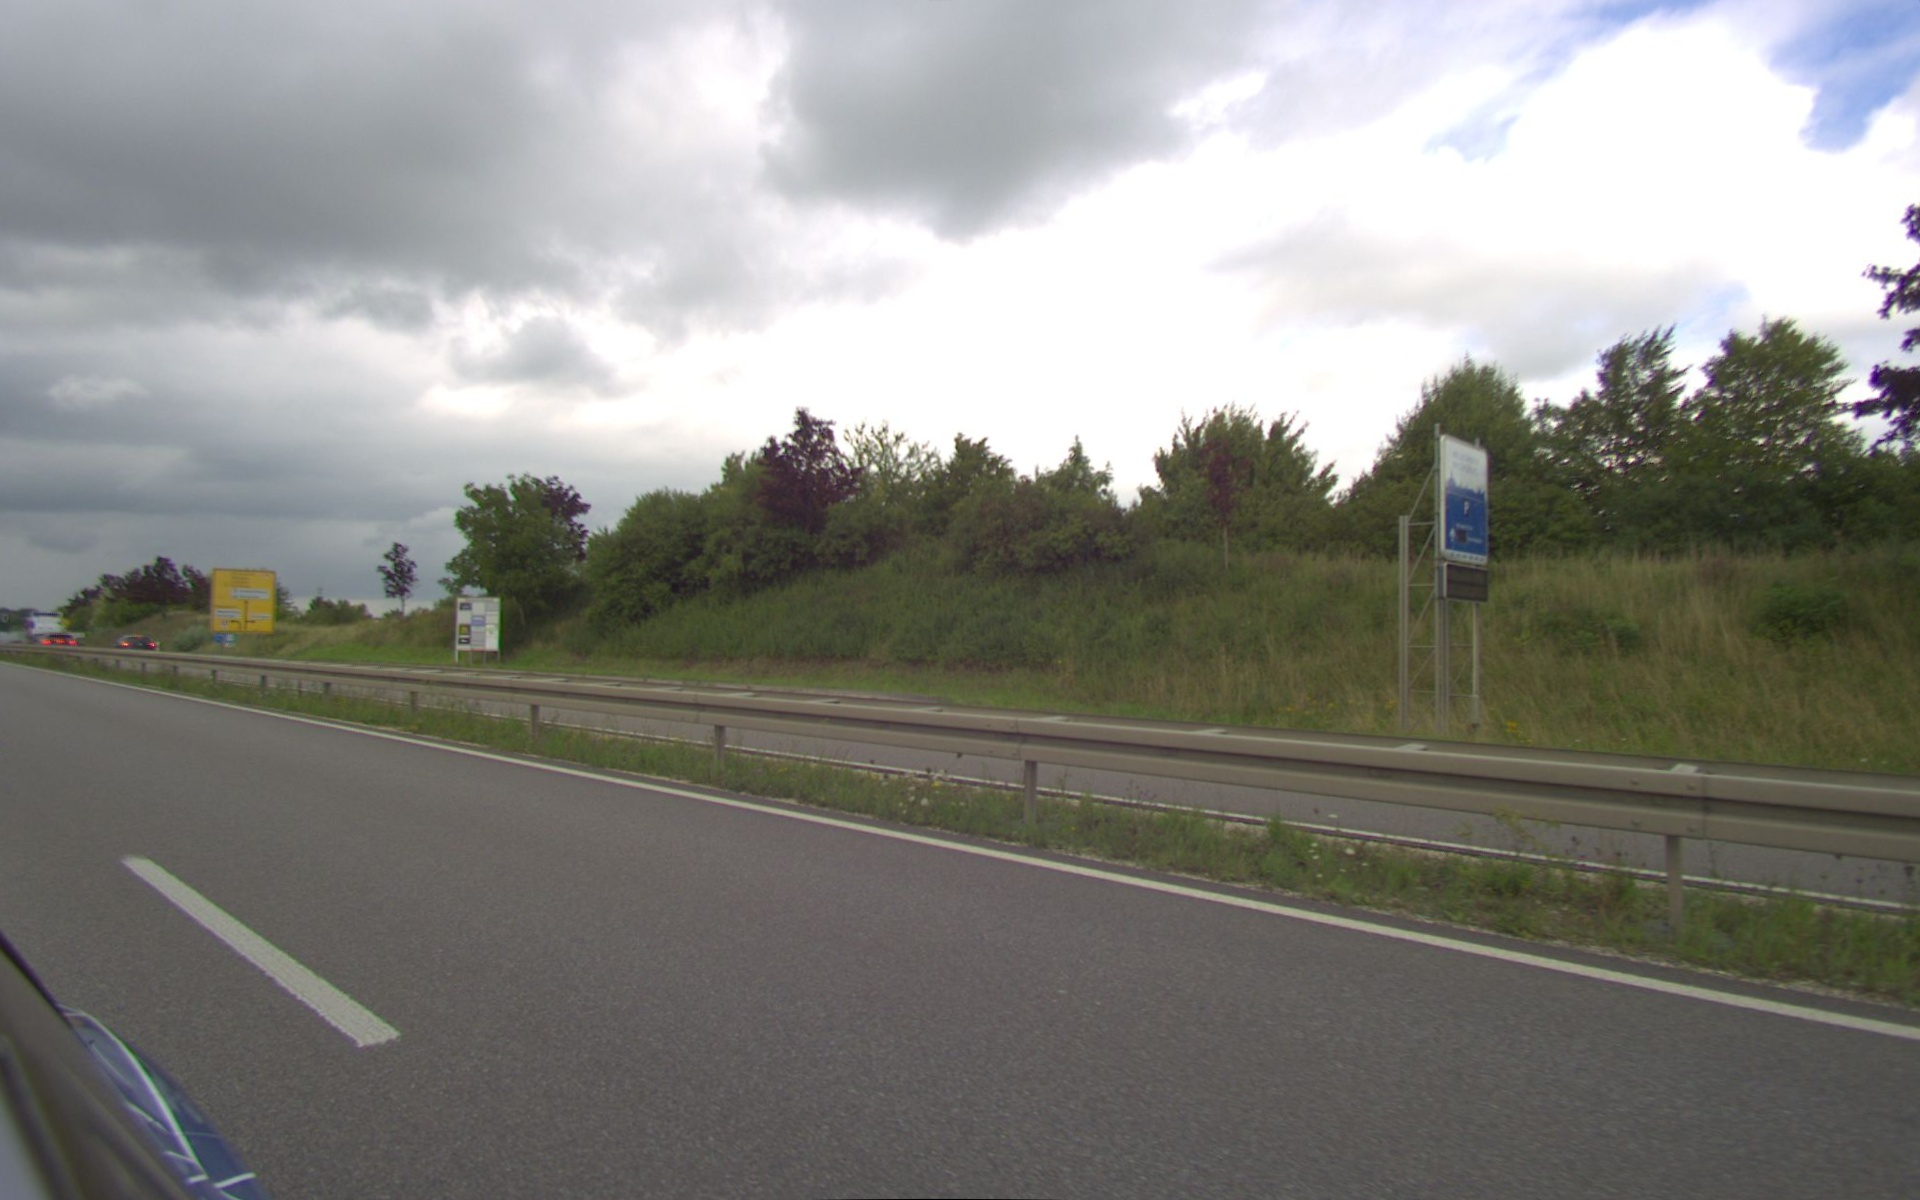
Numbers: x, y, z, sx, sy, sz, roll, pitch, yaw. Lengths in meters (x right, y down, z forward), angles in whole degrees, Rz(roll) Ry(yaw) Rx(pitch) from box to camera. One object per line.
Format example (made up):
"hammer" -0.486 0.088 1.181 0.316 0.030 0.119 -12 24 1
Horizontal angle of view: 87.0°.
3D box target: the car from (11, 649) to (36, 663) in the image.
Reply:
"car" -109.542 6.539 118.349 4.547 1.542 1.714 -3 -5 42

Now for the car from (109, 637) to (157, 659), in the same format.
"car" -52.093 3.015 63.727 4.416 1.334 1.673 -3 -4 42

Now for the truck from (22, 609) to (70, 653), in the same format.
"truck" -86.107 2.942 95.312 5.285 4.028 2.772 -3 -4 42

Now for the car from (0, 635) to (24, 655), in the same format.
"car" -122.903 5.820 130.984 5.634 2.458 2.011 -3 -6 42

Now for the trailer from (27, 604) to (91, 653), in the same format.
"trailer" -80.176 2.648 89.939 12.981 3.977 2.745 -3 -4 42

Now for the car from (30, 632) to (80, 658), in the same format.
"car" -54.314 2.732 60.716 4.575 1.497 1.735 -3 -4 42
